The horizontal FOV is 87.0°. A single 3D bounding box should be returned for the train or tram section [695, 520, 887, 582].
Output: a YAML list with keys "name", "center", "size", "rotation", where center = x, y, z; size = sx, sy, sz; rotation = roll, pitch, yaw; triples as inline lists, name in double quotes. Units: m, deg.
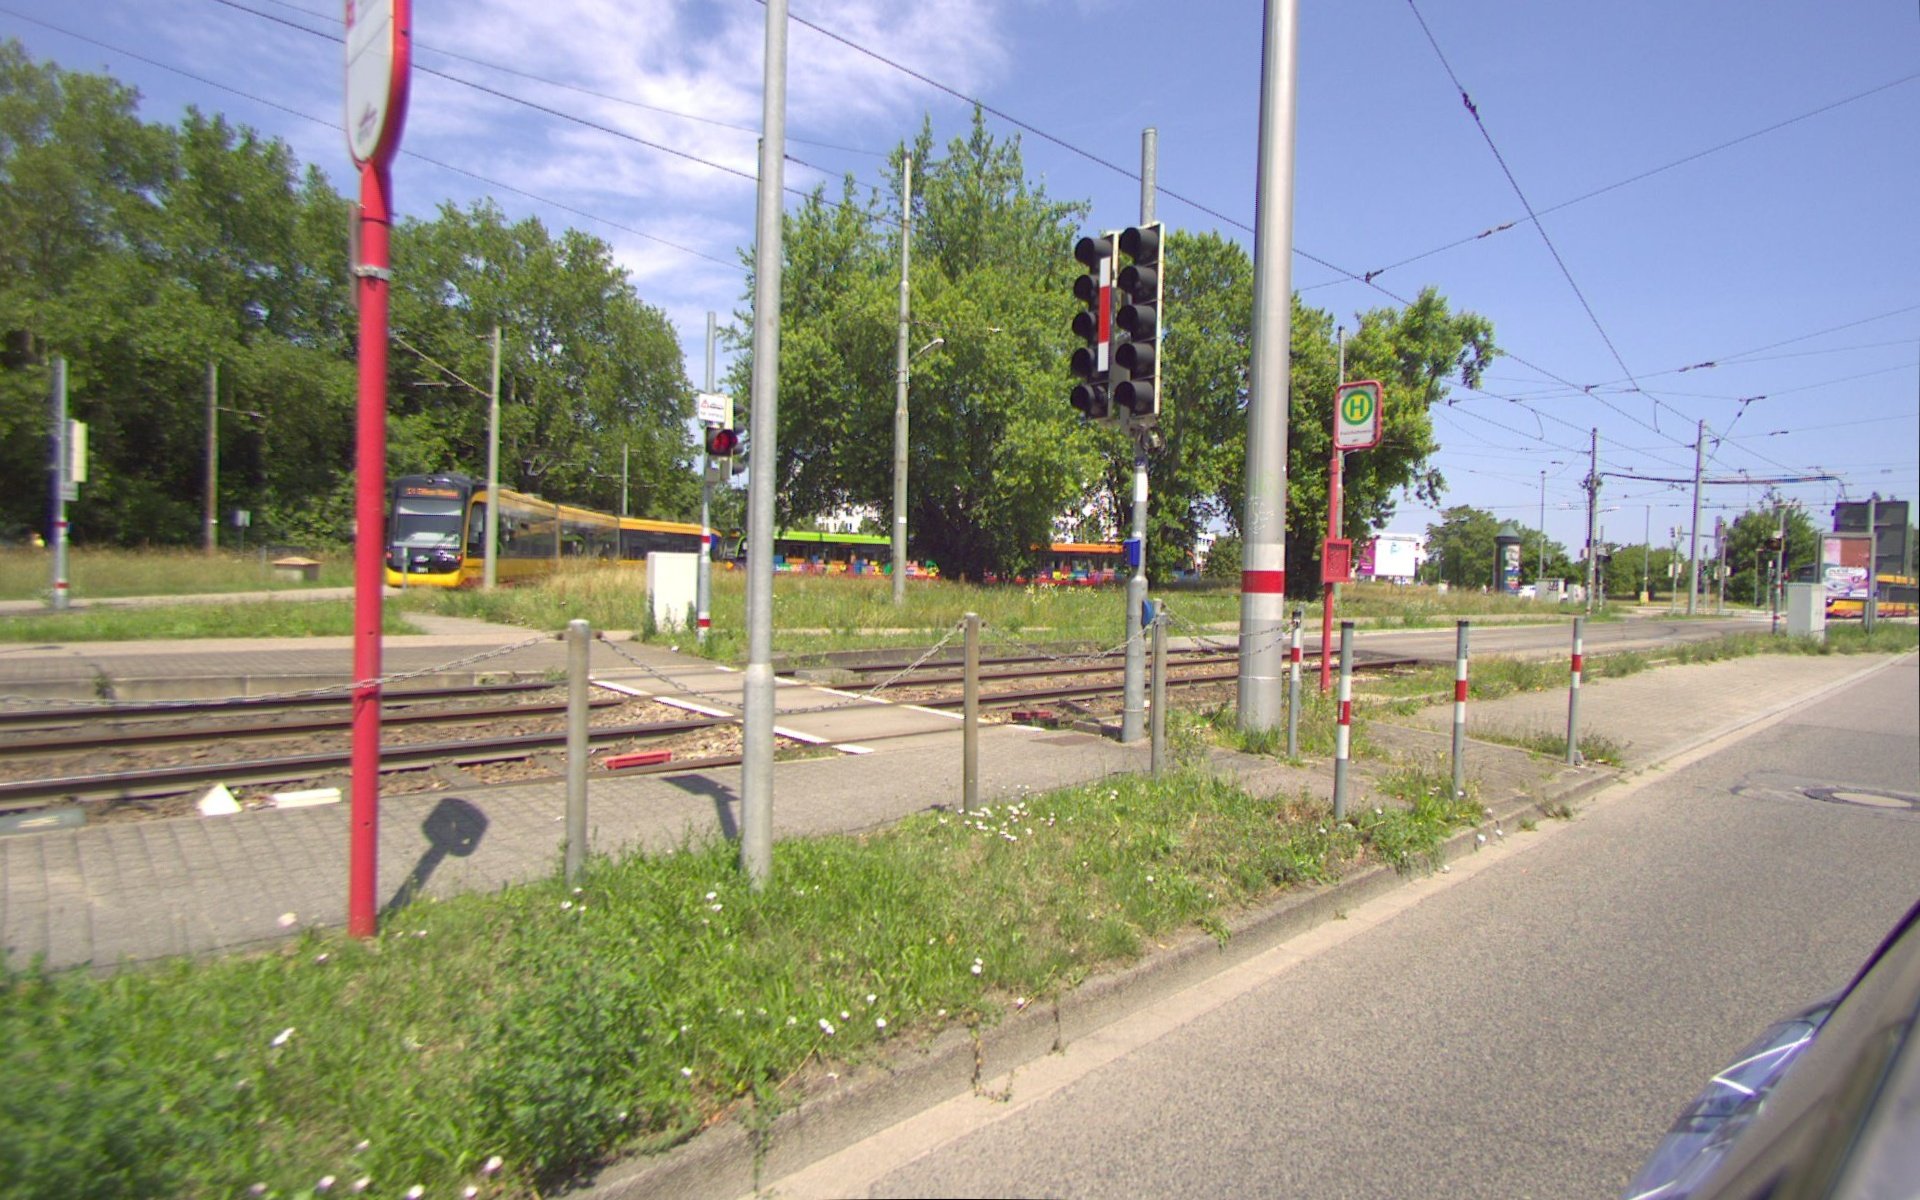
- name: "train or tram section"
  center: [-10.959, -3.135, 67.441]
  size: [13.019, 3.663, 2.713]
  rotation: [0, 3, -41]

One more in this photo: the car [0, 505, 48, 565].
- name: "car"
  center: [-34.089, -2.248, 34.338]
  size: [1.939, 2.038, 4.277]
  rotation: [3, 2, 25]

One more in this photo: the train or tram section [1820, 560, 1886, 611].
- name: "train or tram section"
  center: [63.176, -1.063, 71.550]
  size: [7.135, 3.363, 2.523]
  rotation: [-1, 3, -42]

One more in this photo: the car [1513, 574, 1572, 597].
- name: "car"
  center: [43.973, -1.111, 76.450]
  size: [3.917, 1.638, 1.857]
  rotation: [-1, 1, -23]

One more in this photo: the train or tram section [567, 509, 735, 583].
- name: "train or tram section"
  center: [-16.957, -2.910, 57.185]
  size: [2.676, 3.617, 13.198]
  rotation: [2, 2, 14]

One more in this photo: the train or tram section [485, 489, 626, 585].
- name: "train or tram section"
  center: [-17.900, -2.618, 45.990]
  size: [2.660, 3.694, 13.272]
  rotation: [0, 1, -7]

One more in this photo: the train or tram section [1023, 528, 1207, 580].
- name: "train or tram section"
  center: [11.234, -3.300, 73.954]
  size: [13.035, 3.694, 2.709]
  rotation: [0, 1, 10]

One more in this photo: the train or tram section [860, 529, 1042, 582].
- name: "train or tram section"
  center: [-0.591, -3.167, 73.090]
  size: [12.972, 3.694, 2.722]
  rotation: [0, 1, -18]

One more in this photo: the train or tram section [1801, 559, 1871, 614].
- name: "train or tram section"
  center: [57.846, -0.938, 66.778]
  size: [7.135, 3.363, 2.523]
  rotation: [-1, 3, -42]

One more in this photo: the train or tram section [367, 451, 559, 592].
- name: "train or tram section"
  center: [-15.704, -2.238, 33.269]
  size: [2.659, 3.694, 13.214]
  rotation: [0, 1, -13]
